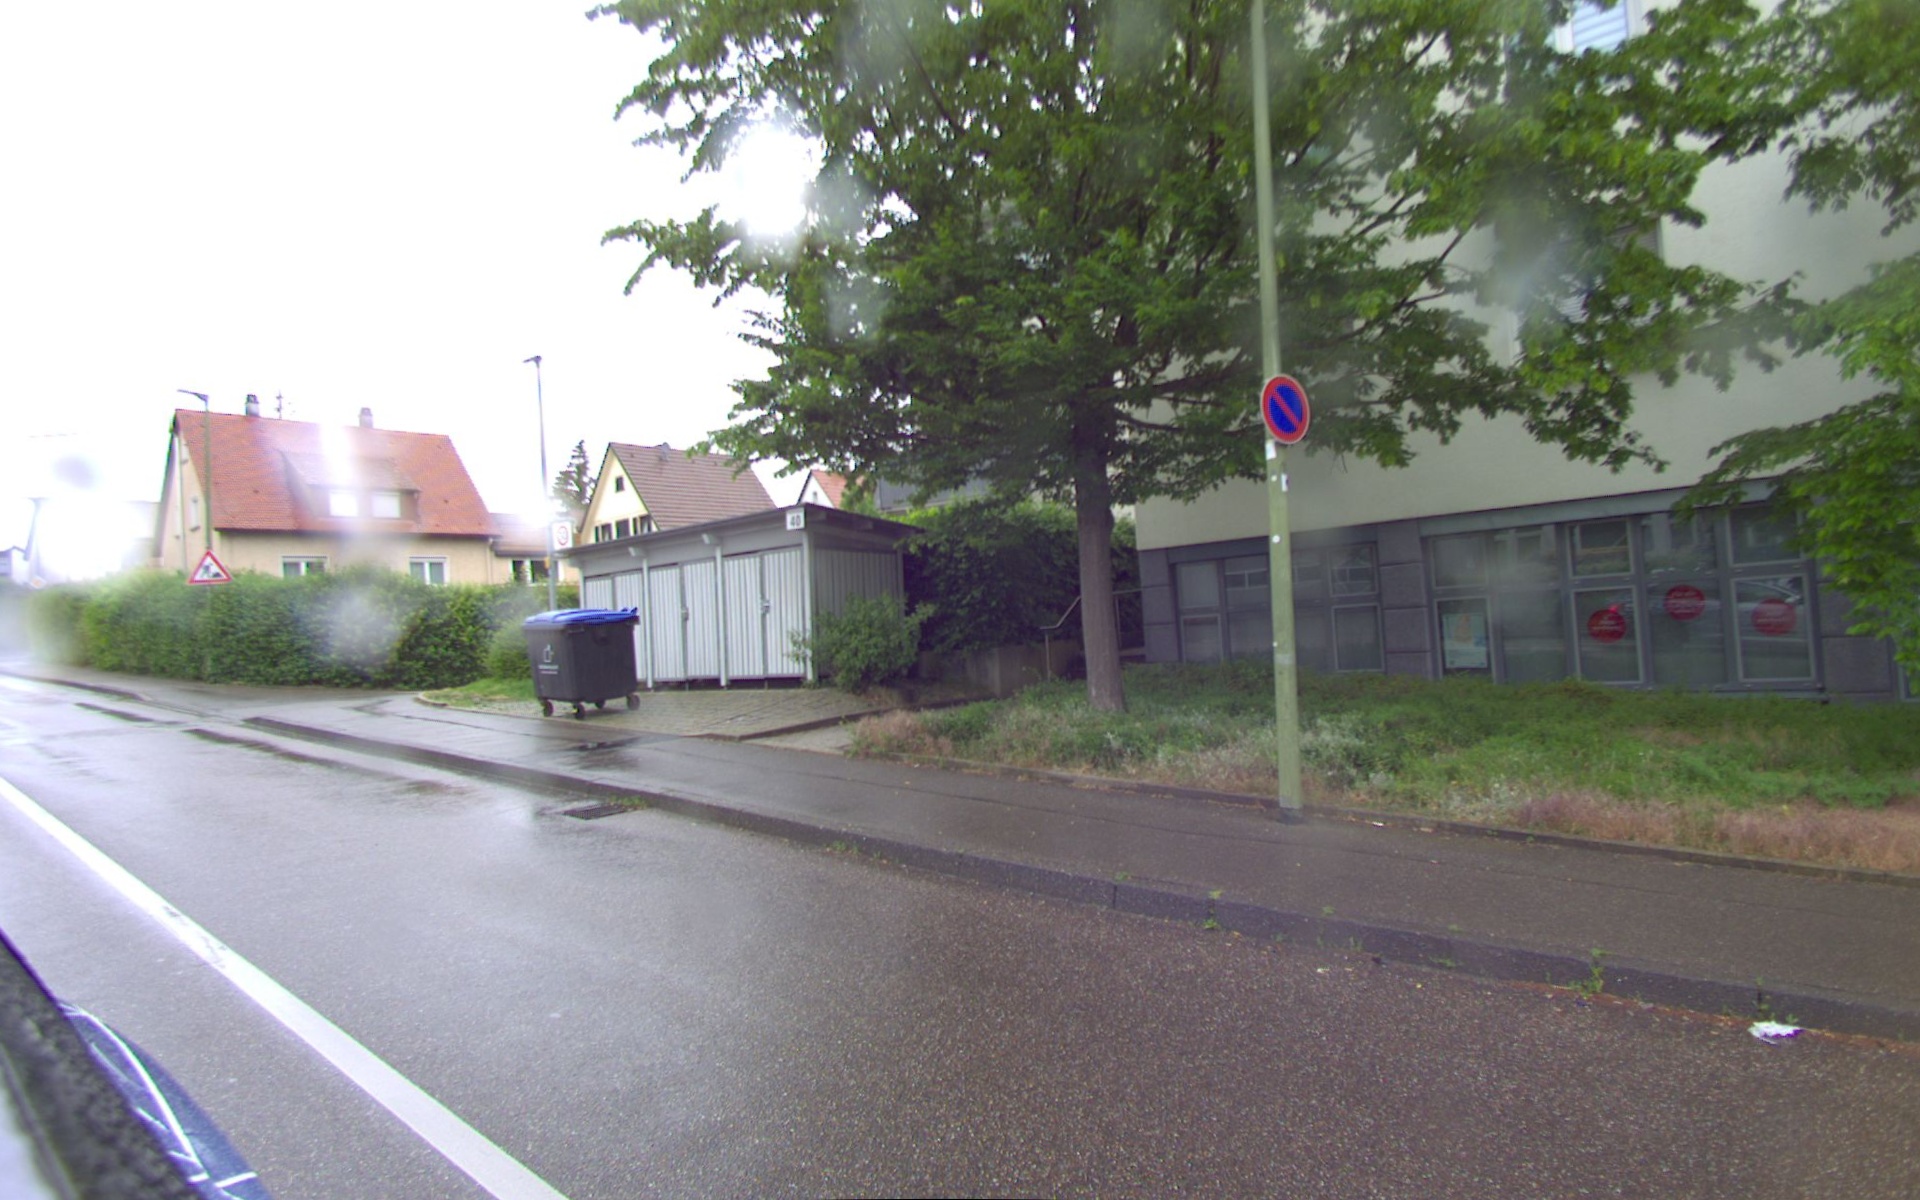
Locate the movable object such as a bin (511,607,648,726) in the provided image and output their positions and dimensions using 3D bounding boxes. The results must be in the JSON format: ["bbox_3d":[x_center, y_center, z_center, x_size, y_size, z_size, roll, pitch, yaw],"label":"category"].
[{"bbox_3d":[-4.760,0.809,12.662,1.201,1.306,1.043,-3,3,41],"label":"movable object such as a bin"}]
